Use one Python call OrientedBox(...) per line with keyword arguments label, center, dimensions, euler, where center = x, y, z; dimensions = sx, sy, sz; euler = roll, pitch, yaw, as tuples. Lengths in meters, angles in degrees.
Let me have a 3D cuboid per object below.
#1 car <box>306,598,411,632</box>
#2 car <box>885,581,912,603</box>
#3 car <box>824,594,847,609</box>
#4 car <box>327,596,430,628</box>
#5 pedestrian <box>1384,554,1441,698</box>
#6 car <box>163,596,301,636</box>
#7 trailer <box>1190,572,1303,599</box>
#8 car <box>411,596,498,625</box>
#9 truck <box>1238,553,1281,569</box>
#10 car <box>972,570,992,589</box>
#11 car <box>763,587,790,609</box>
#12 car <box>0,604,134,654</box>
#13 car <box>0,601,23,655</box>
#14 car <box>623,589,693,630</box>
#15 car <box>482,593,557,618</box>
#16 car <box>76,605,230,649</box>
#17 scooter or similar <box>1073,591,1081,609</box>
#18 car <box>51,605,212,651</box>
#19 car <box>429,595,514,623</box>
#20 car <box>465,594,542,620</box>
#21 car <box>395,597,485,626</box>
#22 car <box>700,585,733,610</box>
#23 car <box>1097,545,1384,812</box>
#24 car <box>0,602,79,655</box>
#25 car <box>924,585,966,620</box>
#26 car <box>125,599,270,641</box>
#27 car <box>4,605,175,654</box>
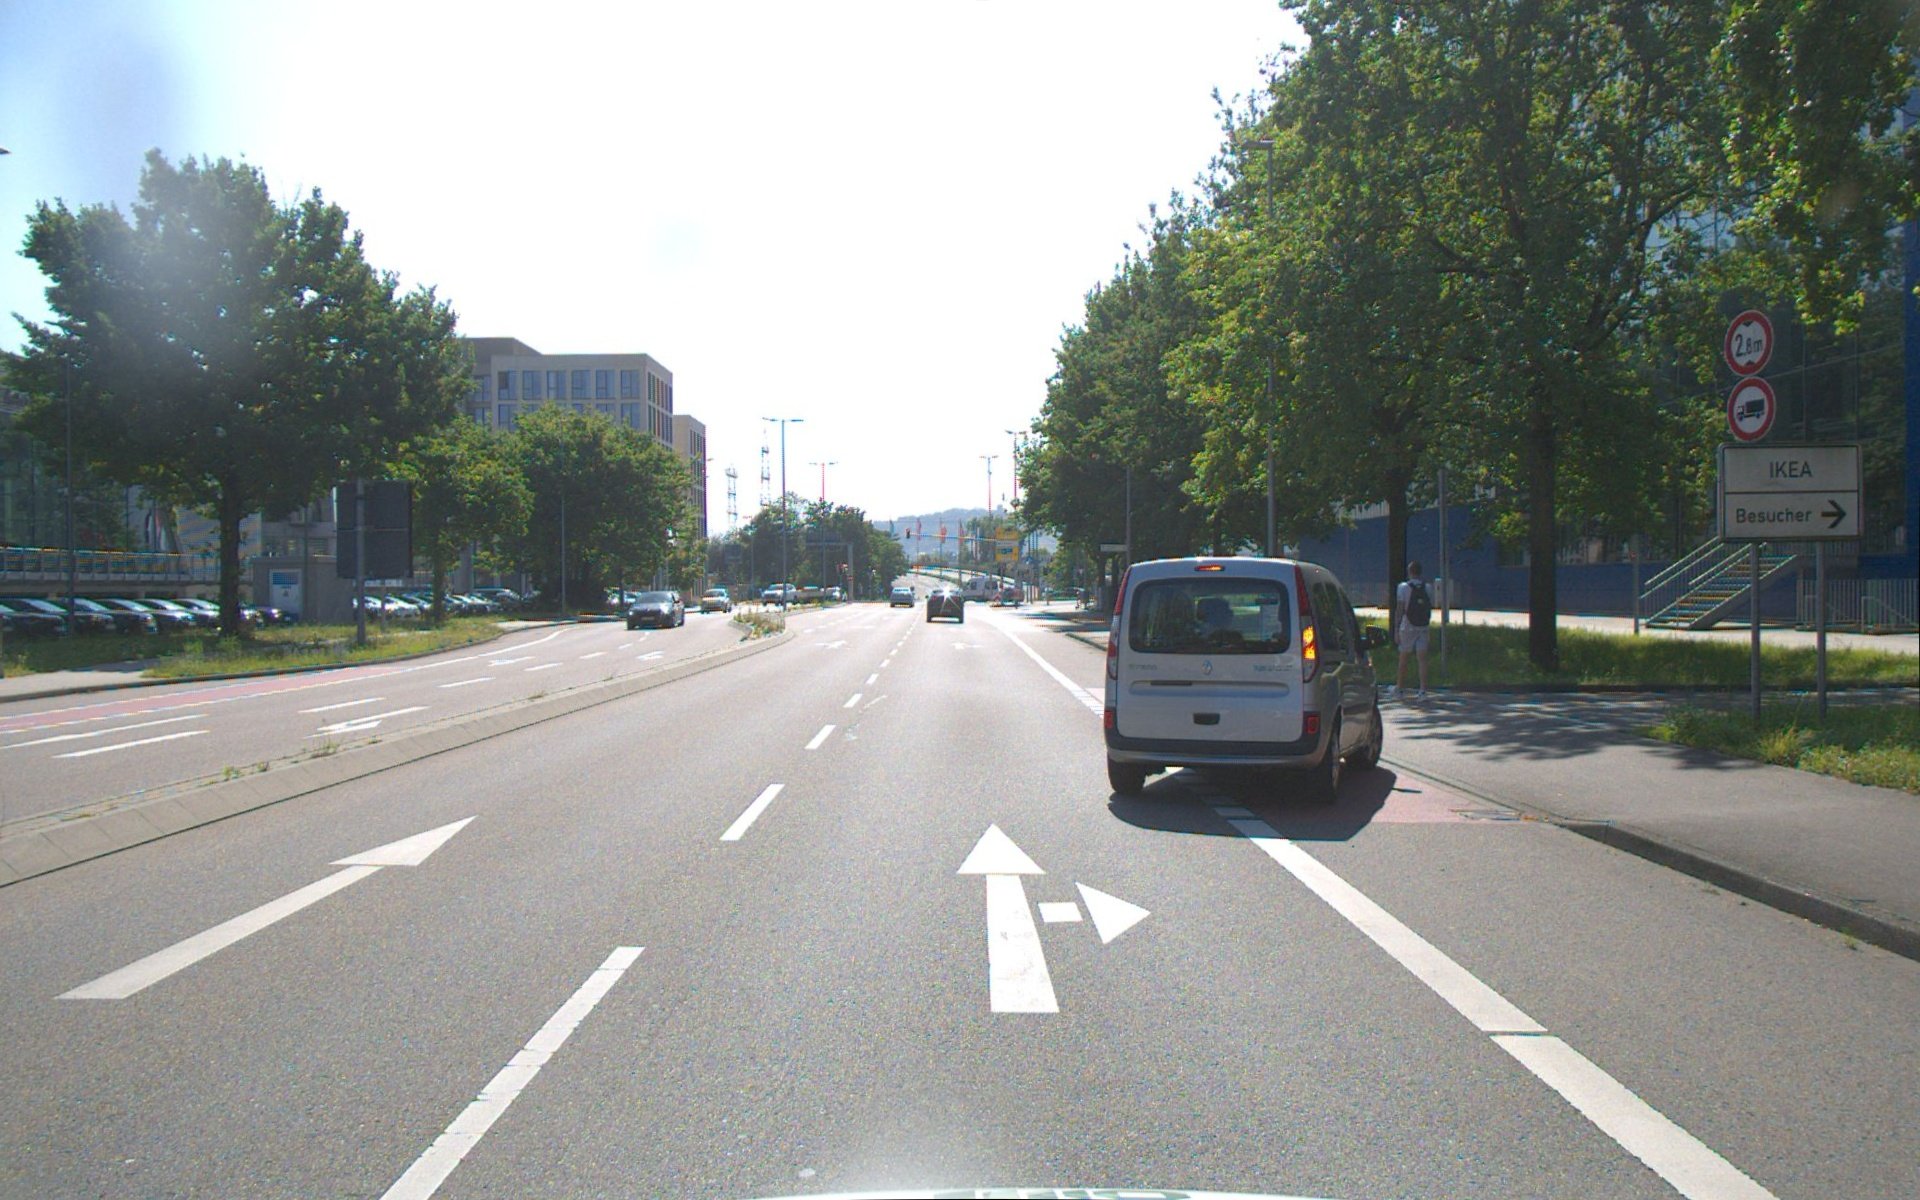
OrientedBox(label="car", center=(-26.478, 0.651, 72.865), dimensions=(3.905, 1.400, 1.865), euler=(-1, 0, 0))
OrientedBox(label="car", center=(-4.816, -0.630, 130.080), dimensions=(1.952, 1.713, 4.000), euler=(-1, 0, 1))
OrientedBox(label="car", center=(-12.949, 0.148, 171.774), dimensions=(1.777, 1.489, 4.002), euler=(-1, 0, 4))
OrientedBox(label="car", center=(-26.516, 0.536, 75.554), dimensions=(3.959, 1.400, 2.025), euler=(-1, 0, 0))
OrientedBox(label="pedestrian", center=(6.012, 0.332, 21.998), dimensions=(0.524, 1.874, 0.728), euler=(-1, 0, 0))
OrientedBox(label="car", center=(-26.562, 0.590, 60.438), dimensions=(4.177, 1.374, 1.954), euler=(-1, 0, 2))
OrientedBox(label="trailer", center=(30.137, -1.530, 174.191), dimensions=(11.620, 2.512, 2.002), euler=(2, 1, 5))
OrientedBox(label="car", center=(-26.206, 0.541, 85.878), dimensions=(3.905, 1.400, 1.924), euler=(-1, 0, 0))
OrientedBox(label="truck", center=(42.675, -5.531, 235.547), dimensions=(5.787, 2.048, 2.001), euler=(2, 1, 2))
OrientedBox(label="car", center=(2.170, -2.006, 164.920), dimensions=(1.722, 1.789, 3.601), euler=(1, 2, -3))
OrientedBox(label="car", center=(-15.755, -0.173, 142.020), dimensions=(1.953, 1.864, 4.935), euler=(-1, 0, -2))
OrientedBox(label="car", center=(-26.597, 0.846, 48.066), dimensions=(4.177, 1.374, 1.954), euler=(-1, 0, 2))
OrientedBox(label="car", center=(-26.790, 0.746, 42.628), dimensions=(4.177, 1.374, 1.954), euler=(-1, 0, 2))
OrientedBox(label="car", center=(-12.109, 0.363, 66.557), dimensions=(1.803, 1.489, 5.000), euler=(-3, 0, 0))
OrientedBox(label="car", center=(-26.225, 0.307, 98.589), dimensions=(3.905, 1.400, 1.924), euler=(-1, 0, 0))
OrientedBox(label="car", center=(-26.982, 0.880, 55.382), dimensions=(4.177, 1.374, 1.954), euler=(-1, 0, 2))
OrientedBox(label="scooter or similar", center=(8.459, -0.012, 119.645), dimensions=(0.343, 1.255, 1.312), euler=(-1, 0, 13))
OrientedBox(label="car", center=(-26.643, 0.893, 53.291), dimensions=(4.177, 1.374, 1.954), euler=(-1, 0, 2))
OrientedBox(label="car", center=(-26.038, 0.474, 88.254), dimensions=(3.905, 1.400, 1.924), euler=(-1, 0, 0))
OrientedBox(label="car", center=(-26.290, 0.383, 95.372), dimensions=(3.905, 1.400, 1.924), euler=(-1, 0, 0))
OrientedBox(label="car", center=(-26.229, 0.566, 83.478), dimensions=(3.905, 1.400, 1.924), euler=(-1, 0, 0))
OrientedBox(label="car", center=(-15.300, -0.153, 104.033), dimensions=(1.621, 1.489, 3.548), euler=(-2, 0, -3))
OrientedBox(label="car", center=(2.495, 0.540, 13.807), dimensions=(1.865, 1.861, 4.183), euler=(-1, 0, 16))
OrientedBox(label="car", center=(-26.696, 0.793, 45.180), dimensions=(4.177, 1.374, 1.954), euler=(-1, 0, 2))
OrientedBox(label="car", center=(-0.714, 0.092, 81.456), dimensions=(1.769, 1.668, 4.461), euler=(-1, 1, 3))
OrientedBox(label="car", center=(-26.739, 0.686, 58.086), dimensions=(4.177, 1.374, 1.954), euler=(-1, 0, 2))
OrientedBox(label="car", center=(-26.614, 0.891, 50.646), dimensions=(4.177, 1.374, 1.954), euler=(-1, 0, 2))
